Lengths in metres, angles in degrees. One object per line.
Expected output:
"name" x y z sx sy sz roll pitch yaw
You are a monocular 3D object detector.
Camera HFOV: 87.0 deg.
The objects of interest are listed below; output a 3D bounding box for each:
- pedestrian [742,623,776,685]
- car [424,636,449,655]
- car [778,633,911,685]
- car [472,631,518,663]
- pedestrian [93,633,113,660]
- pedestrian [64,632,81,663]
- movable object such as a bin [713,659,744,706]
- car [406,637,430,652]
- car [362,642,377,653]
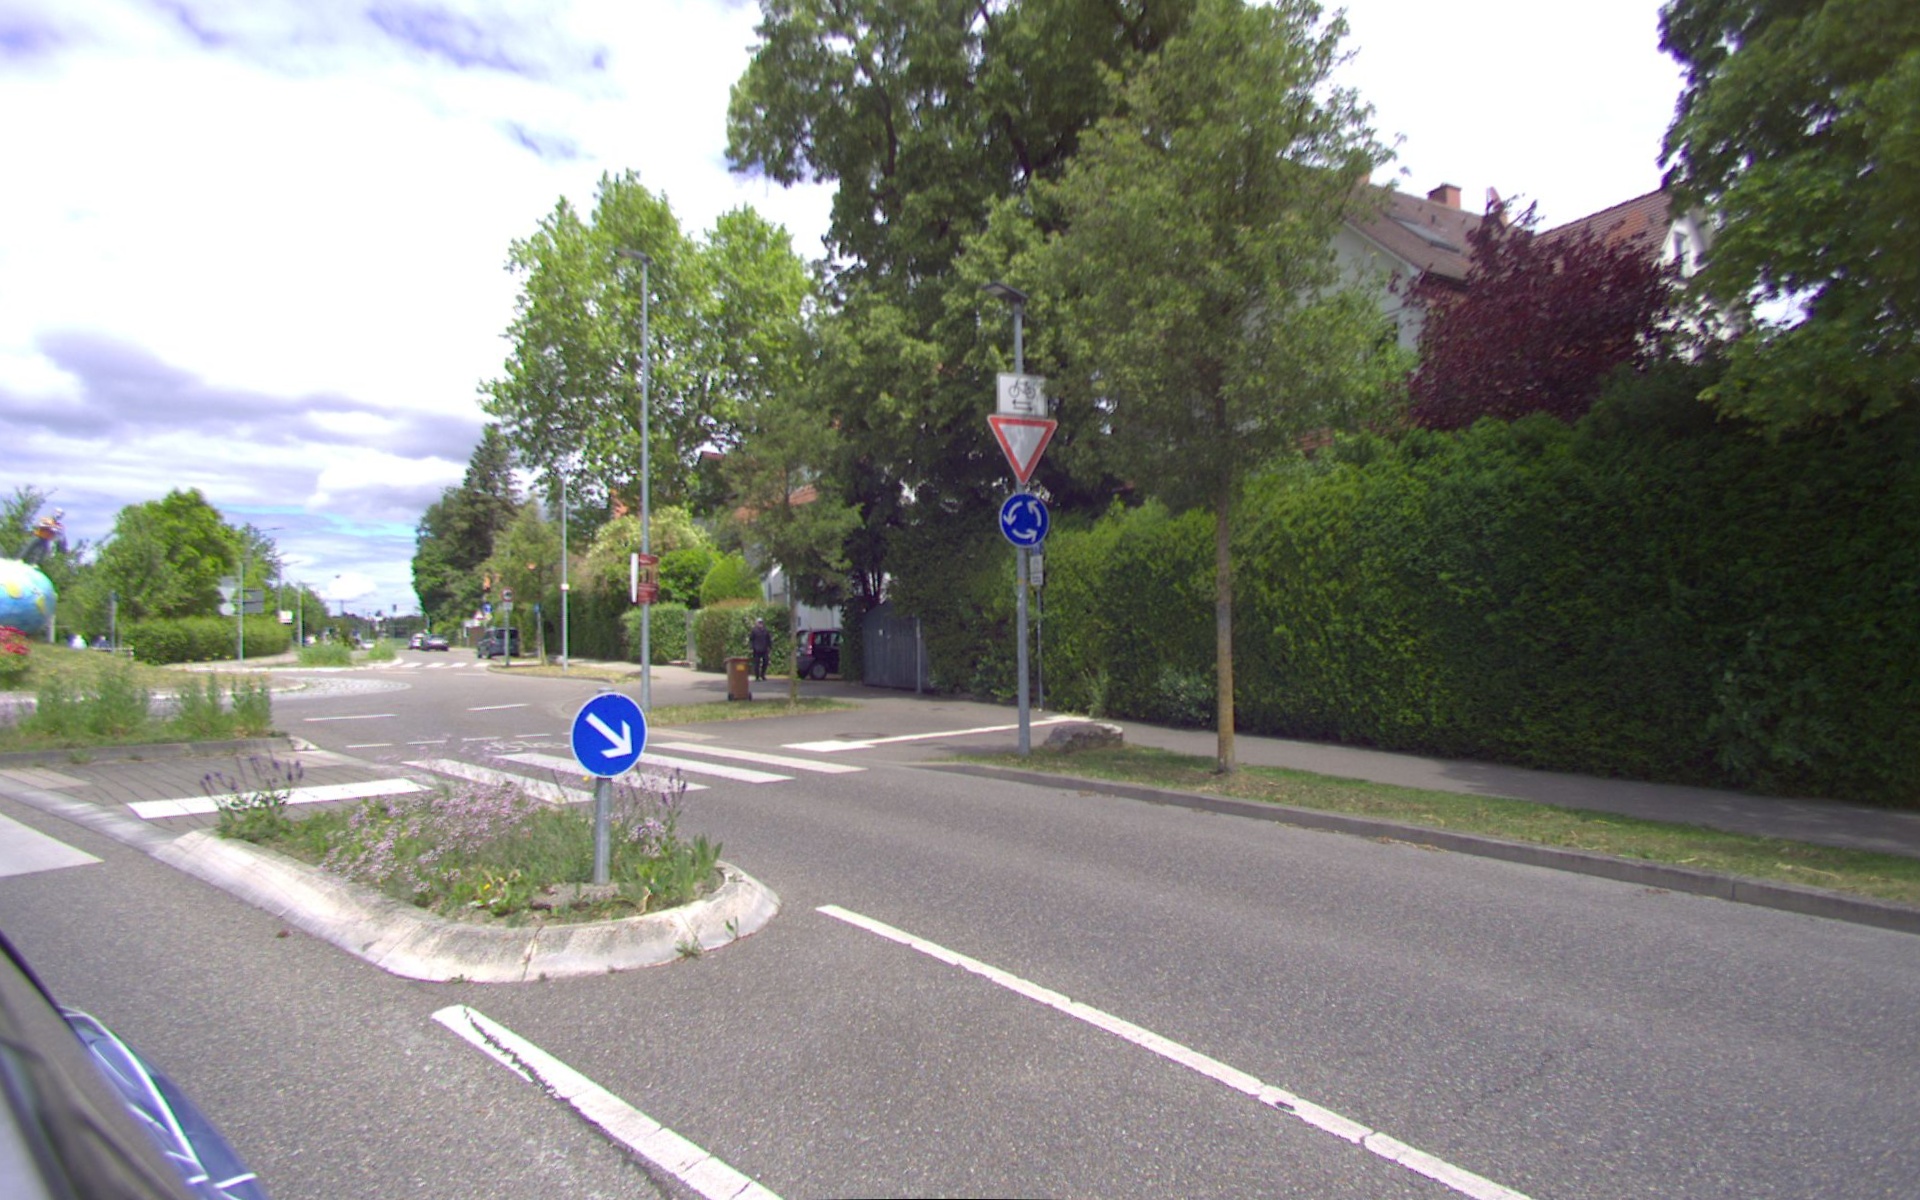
"pedestrian" -5.650 1.491 28.428 0.733 1.704 0.696 0 -1 -29
"car" -46.569 4.021 89.993 1.832 1.589 4.012 0 -1 -30
"car" -3.441 1.769 30.293 3.517 1.408 1.670 4 -3 -30
"car" -26.034 2.601 56.625 1.654 1.674 4.010 1 -2 -35
"pedestrian" -49.222 2.666 58.154 0.601 1.569 0.754 -1 -3 41
"pedestrian" -50.097 2.673 57.140 0.566 1.710 0.600 -2 -3 39
"movable object such as a bin" -4.729 1.680 20.680 0.410 0.942 0.437 -1 -3 31
"car" -62.558 5.088 116.775 1.967 1.719 4.010 2 -3 -35
"car" -92.496 7.418 158.499 1.966 1.719 4.012 2 -3 -30
